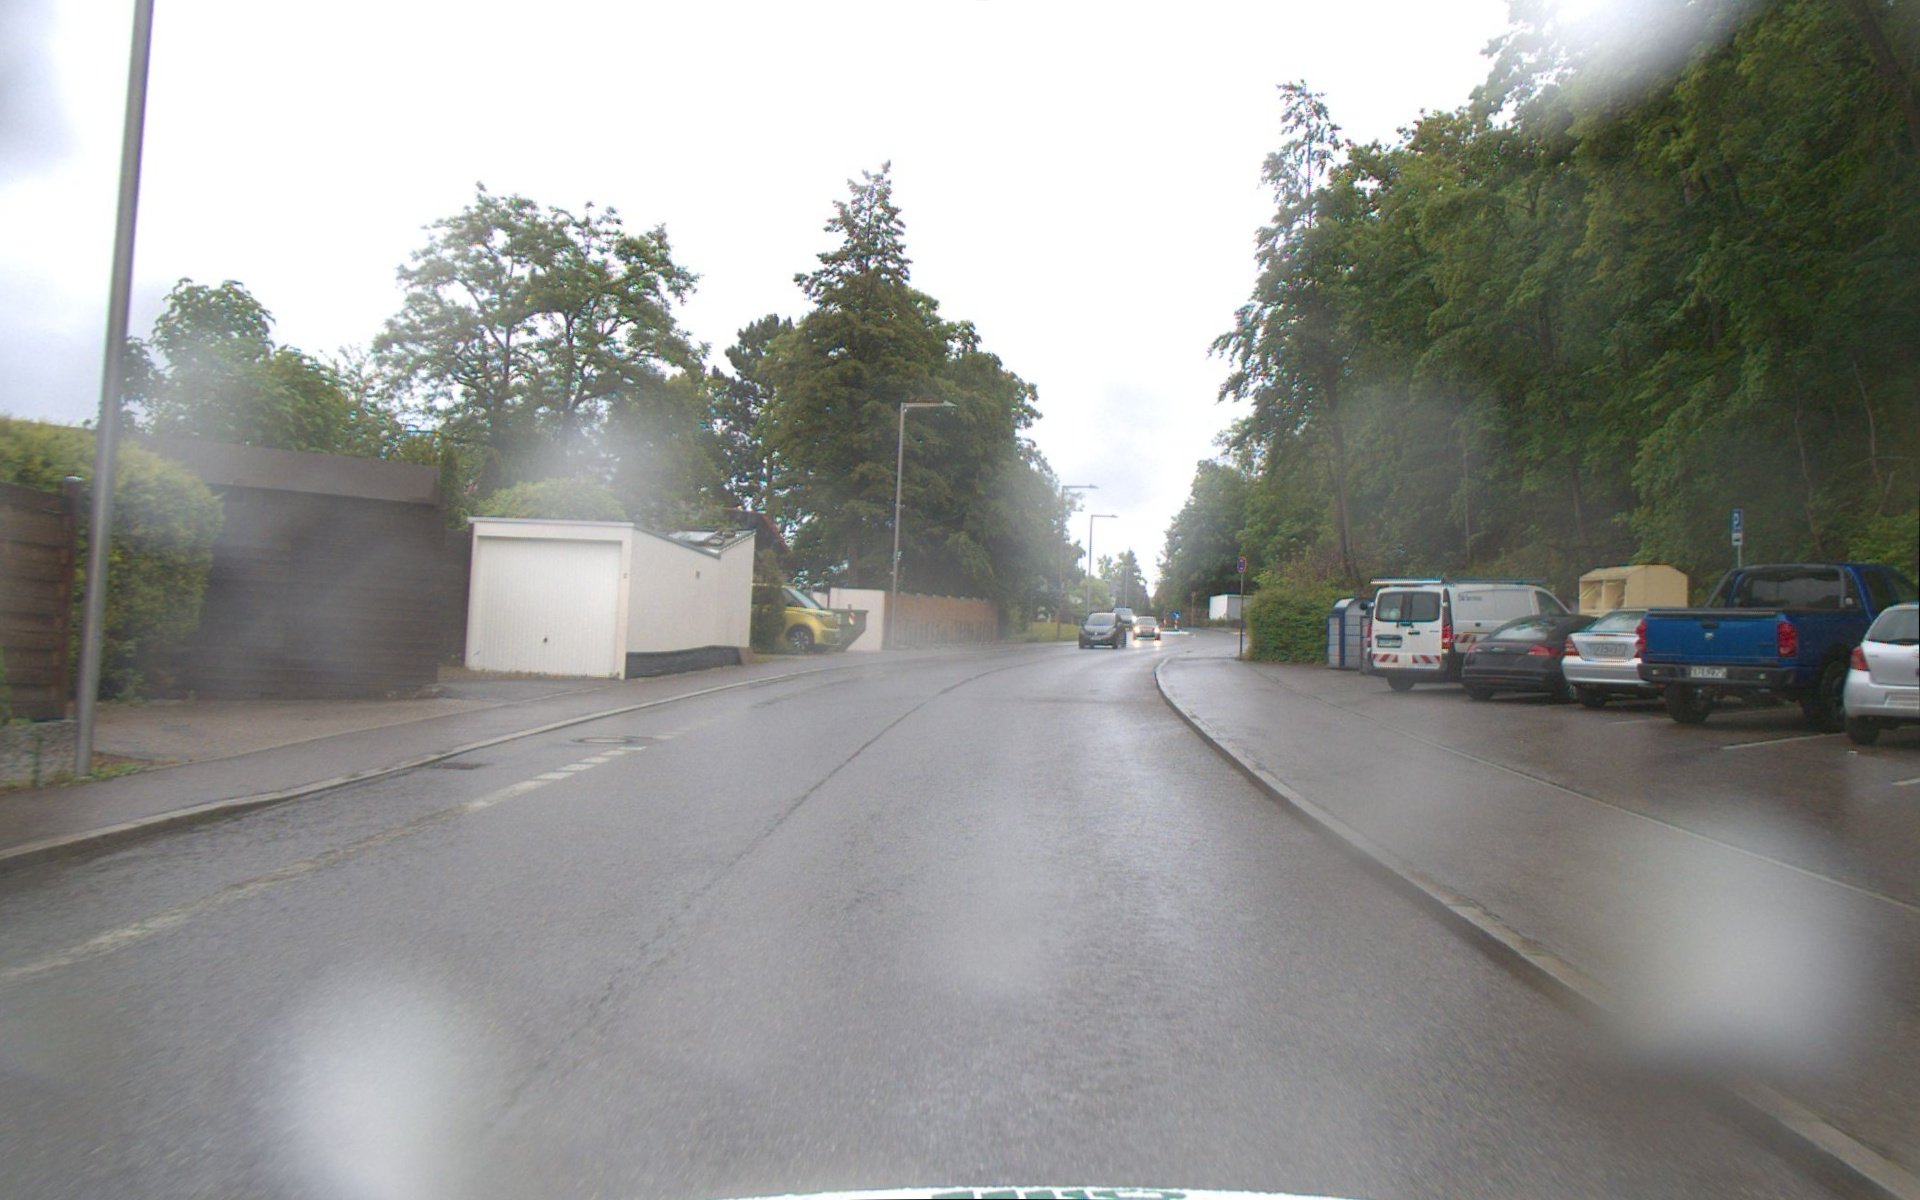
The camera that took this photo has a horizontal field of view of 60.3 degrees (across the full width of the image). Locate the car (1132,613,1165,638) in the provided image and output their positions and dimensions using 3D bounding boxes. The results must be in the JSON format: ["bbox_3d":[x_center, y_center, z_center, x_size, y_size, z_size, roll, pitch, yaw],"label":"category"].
[{"bbox_3d":[11.805,1.588,103.329,1.795,1.538,4.172,1,-1,10],"label":"car"}]

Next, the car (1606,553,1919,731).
[{"bbox_3d":[10.805,0.465,21.191,5.425,2.003,2.300,0,0,-38],"label":"car"}]

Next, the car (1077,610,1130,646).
[{"bbox_3d":[6.568,1.266,75.279,1.795,1.538,4.621,1,-1,12],"label":"car"}]

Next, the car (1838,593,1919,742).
[{"bbox_3d":[11.207,0.700,18.077,3.877,1.512,1.595,1,0,-41],"label":"car"}]

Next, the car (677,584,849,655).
[{"bbox_3d":[-5.576,0.533,47.005,4.407,1.892,2.091,1,0,12],"label":"car"}]

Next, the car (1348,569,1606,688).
[{"bbox_3d":[9.338,0.483,29.709,4.794,1.974,2.127,1,0,-39],"label":"car"}]

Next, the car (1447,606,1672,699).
[{"bbox_3d":[9.617,0.790,26.445,3.759,1.372,1.737,1,0,-39],"label":"car"}]

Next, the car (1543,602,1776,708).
[{"bbox_3d":[10.368,0.760,24.405,3.958,1.437,1.602,1,0,-41],"label":"car"}]
